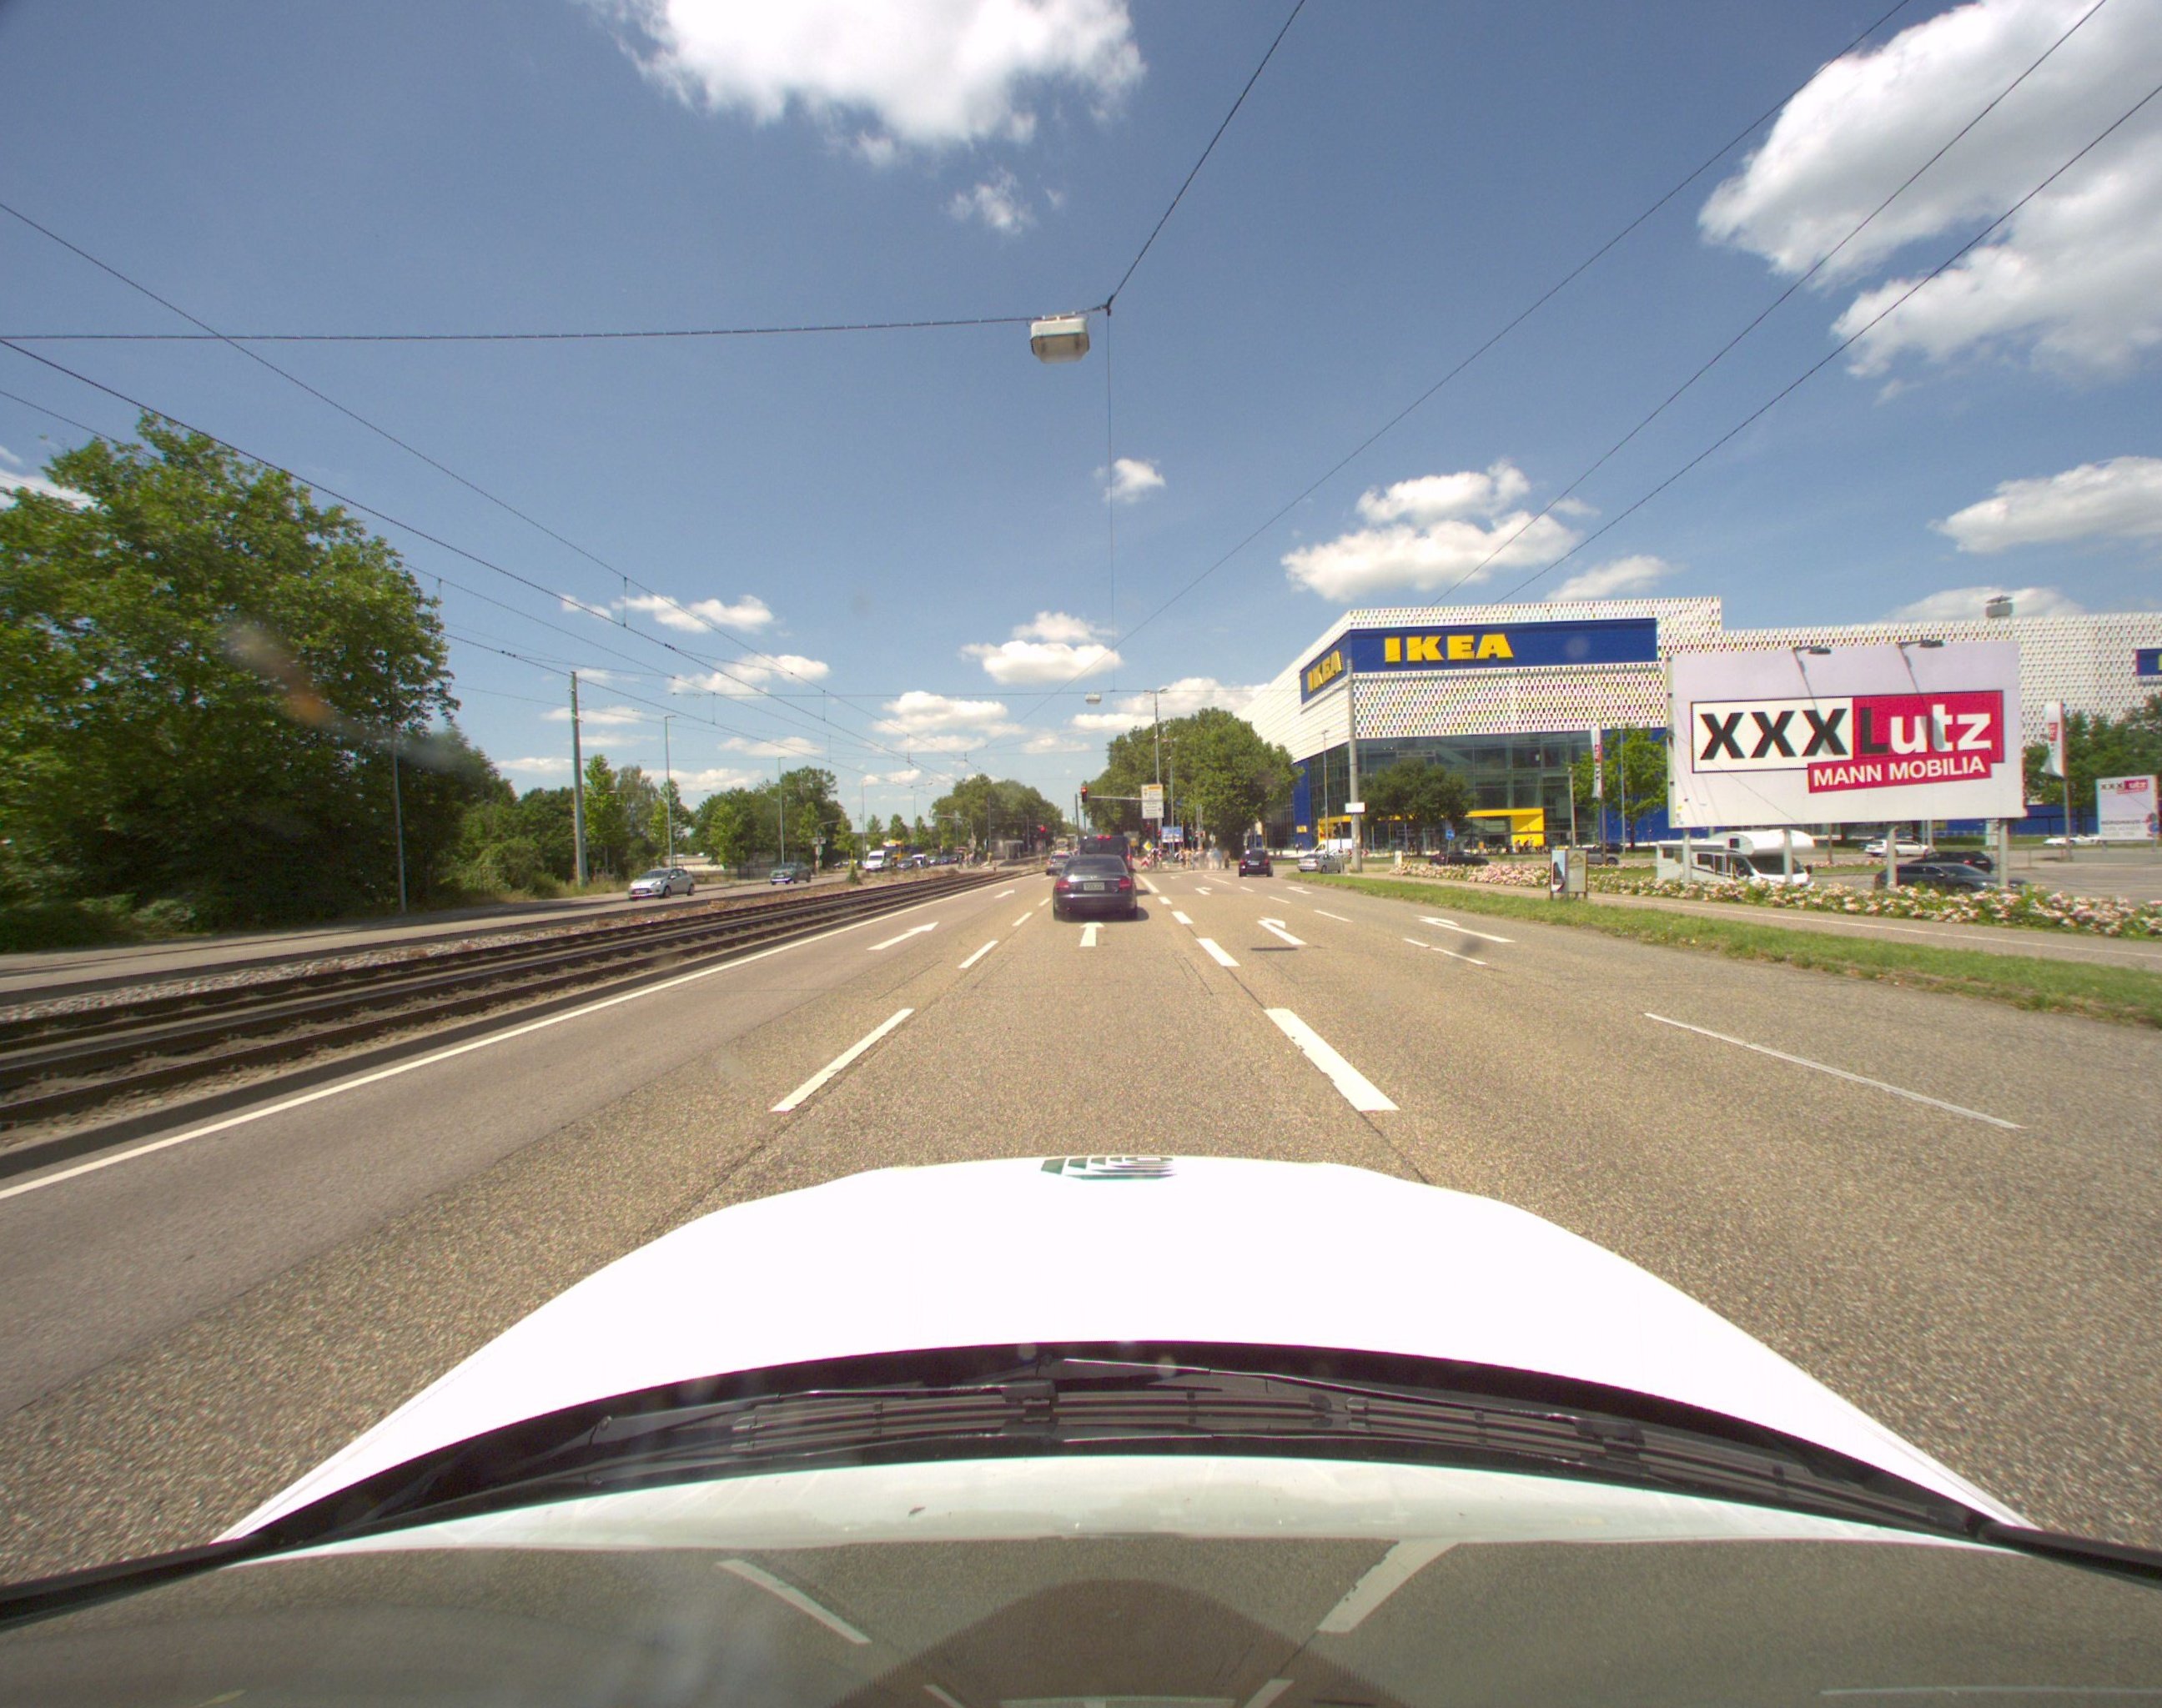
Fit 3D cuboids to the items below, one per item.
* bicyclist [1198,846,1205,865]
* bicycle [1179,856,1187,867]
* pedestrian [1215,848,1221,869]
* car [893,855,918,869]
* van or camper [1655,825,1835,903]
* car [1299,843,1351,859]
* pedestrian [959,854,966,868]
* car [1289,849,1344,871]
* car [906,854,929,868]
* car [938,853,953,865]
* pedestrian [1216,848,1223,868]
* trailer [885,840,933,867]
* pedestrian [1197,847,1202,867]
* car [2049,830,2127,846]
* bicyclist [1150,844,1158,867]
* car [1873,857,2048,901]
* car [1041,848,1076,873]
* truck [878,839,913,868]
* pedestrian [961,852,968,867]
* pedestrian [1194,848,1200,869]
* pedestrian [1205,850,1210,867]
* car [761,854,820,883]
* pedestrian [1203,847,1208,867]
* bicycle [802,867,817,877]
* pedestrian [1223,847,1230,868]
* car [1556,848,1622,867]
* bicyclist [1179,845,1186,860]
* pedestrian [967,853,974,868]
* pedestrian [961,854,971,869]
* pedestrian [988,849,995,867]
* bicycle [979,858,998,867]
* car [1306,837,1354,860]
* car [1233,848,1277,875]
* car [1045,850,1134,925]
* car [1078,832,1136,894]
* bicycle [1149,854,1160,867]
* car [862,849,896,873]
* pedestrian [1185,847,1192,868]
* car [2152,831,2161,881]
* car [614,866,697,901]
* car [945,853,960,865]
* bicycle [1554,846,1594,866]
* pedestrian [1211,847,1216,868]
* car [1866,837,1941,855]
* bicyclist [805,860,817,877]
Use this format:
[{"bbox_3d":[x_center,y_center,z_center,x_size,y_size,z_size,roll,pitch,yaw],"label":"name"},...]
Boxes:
[{"bbox_3d":[11.189,0.135,75.842,0.525,1.764,0.831,-1,0,15],"label":"bicyclist"},{"bbox_3d":[8.218,0.570,65.856,0.547,0.877,1.700,-1,0,5],"label":"bicycle"},{"bbox_3d":[10.735,0.323,63.850,0.396,1.635,0.371,-1,0,4],"label":"pedestrian"},{"bbox_3d":[-20.685,0.923,96.218,1.815,1.670,4.463,0,0,2],"label":"car"},{"bbox_3d":[28.529,0.366,35.498,2.494,3.020,7.235,-1,0,6],"label":"van or camper"},{"bbox_3d":[23.433,-0.323,78.361,4.475,1.486,2.003,0,0,5],"label":"car"},{"bbox_3d":[-12.869,0.773,88.462,0.683,1.443,0.572,-1,0,-2],"label":"pedestrian"},{"bbox_3d":[16.291,0.383,56.318,1.975,1.486,4.191,1,1,43],"label":"car"},{"bbox_3d":[-20.781,0.840,103.457,1.814,1.670,4.465,0,0,3],"label":"car"},{"bbox_3d":[-22.317,0.872,134.254,1.811,1.883,4.002,-1,0,2],"label":"car"},{"bbox_3d":[11.225,0.300,65.973,0.501,1.635,0.449,-1,0,4],"label":"pedestrian"},{"bbox_3d":[-23.639,-0.061,113.153,2.757,3.518,15.884,-1,0,2],"label":"trailer"},{"bbox_3d":[9.640,0.264,66.115,0.379,1.635,0.377,-1,0,5],"label":"pedestrian"},{"bbox_3d":[92.811,-1.464,75.081,4.475,1.486,2.003,0,0,5],"label":"car"},{"bbox_3d":[5.730,0.120,64.236,0.526,1.789,1.089,-1,0,2],"label":"bicyclist"},{"bbox_3d":[35.336,0.951,32.964,1.986,1.537,4.772,-2,0,2],"label":"car"},{"bbox_3d":[-1.374,0.393,51.905,1.986,1.486,4.002,0,1,2],"label":"car"},{"bbox_3d":[-23.882,-0.052,105.170,2.757,3.569,6.442,-1,0,2],"label":"truck"},{"bbox_3d":[-12.543,0.614,87.649,0.683,1.637,0.572,-1,0,-2],"label":"pedestrian"},{"bbox_3d":[9.140,0.347,63.958,0.443,1.635,0.430,-1,0,4],"label":"pedestrian"},{"bbox_3d":[9.954,0.372,63.939,0.371,1.303,0.365,-1,0,5],"label":"pedestrian"},{"bbox_3d":[-20.481,1.010,57.614,1.981,1.918,4.424,0,1,11],"label":"car"},{"bbox_3d":[10.114,0.239,66.062,0.337,1.635,0.377,-1,0,5],"label":"pedestrian"},{"bbox_3d":[-29.364,1.940,88.015,1.487,0.987,0.485,-1,0,-2],"label":"bicycle"},{"bbox_3d":[11.769,0.293,65.839,0.518,1.670,0.495,-1,0,4],"label":"pedestrian"},{"bbox_3d":[40.982,0.246,65.757,4.116,1.486,2.001,0,0,2],"label":"car"},{"bbox_3d":[8.265,-0.130,66.274,0.468,1.193,0.792,-1,0,4],"label":"bicyclist"},{"bbox_3d":[-12.184,0.710,89.558,0.683,1.564,0.572,-1,0,-2],"label":"pedestrian"},{"bbox_3d":[-12.859,0.816,91.159,0.816,1.720,0.779,-1,0,24],"label":"pedestrian"},{"bbox_3d":[-10.527,0.483,95.649,0.683,2.013,0.572,-1,0,-3],"label":"pedestrian"},{"bbox_3d":[-9.950,0.955,87.711,2.055,0.925,0.751,-1,0,-8],"label":"bicycle"},{"bbox_3d":[26.576,-0.578,87.071,4.718,2.309,2.011,-1,0,21],"label":"car"},{"bbox_3d":[10.030,0.391,46.750,1.977,1.486,4.019,0,1,19],"label":"car"},{"bbox_3d":[0.245,0.681,18.861,1.786,1.455,4.002,-2,0,2],"label":"car"},{"bbox_3d":[0.896,0.290,28.319,1.830,1.950,4.001,-1,0,2],"label":"car"},{"bbox_3d":[5.823,0.505,64.717,0.685,0.993,2.753,-1,0,2],"label":"bicycle"},{"bbox_3d":[-23.928,0.792,96.569,2.235,2.588,6.236,-4,1,1],"label":"car"},{"bbox_3d":[8.455,0.282,64.006,0.551,1.635,0.433,-1,0,4],"label":"pedestrian"},{"bbox_3d":[47.694,0.086,33.046,1.986,2.134,5.003,-1,0,2],"label":"car"},{"bbox_3d":[-19.914,1.347,38.310,1.817,1.416,3.882,-4,0,-1],"label":"car"},{"bbox_3d":[-22.040,0.873,140.215,1.811,1.883,4.002,-1,0,2],"label":"car"},{"bbox_3d":[37.457,0.169,61.954,2.410,1.481,0.990,-1,0,6],"label":"bicycle"},{"bbox_3d":[10.368,0.297,63.887,0.319,1.635,0.377,-1,0,5],"label":"pedestrian"},{"bbox_3d":[69.550,-0.705,68.911,4.361,1.486,2.000,0,0,0],"label":"car"},{"bbox_3d":[-29.186,1.545,88.000,1.116,1.774,0.340,-1,0,-3],"label":"bicyclist"}]
